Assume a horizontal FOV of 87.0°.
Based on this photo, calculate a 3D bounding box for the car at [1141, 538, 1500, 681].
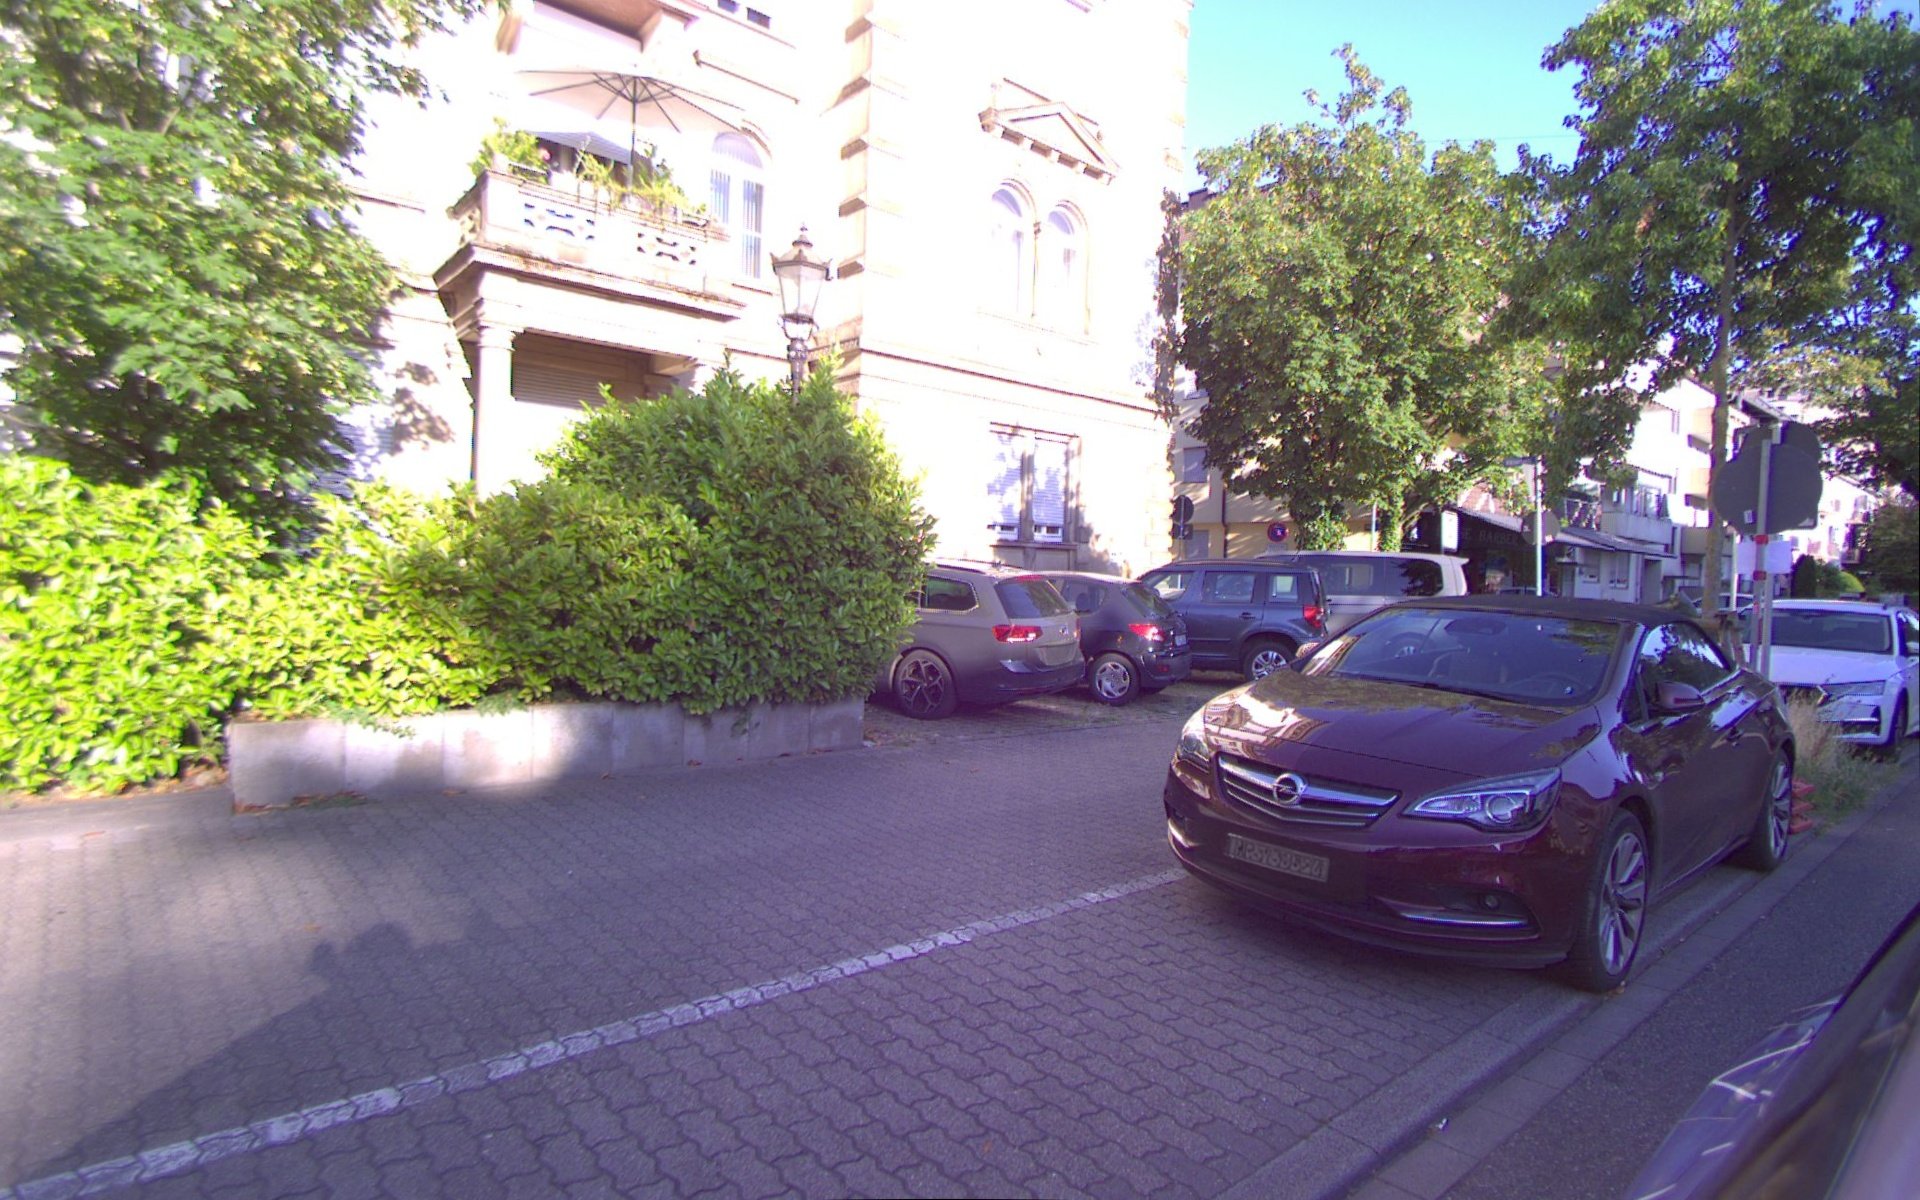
[{"bbox_3d":[5.428,0.056,15.638,4.881,1.923,1.907,2,1,22],"label":"car"}]

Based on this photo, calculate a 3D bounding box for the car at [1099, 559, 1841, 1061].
[{"bbox_3d":[2.904,0.606,5.185,4.534,1.437,1.761,0,4,-41],"label":"car"}]

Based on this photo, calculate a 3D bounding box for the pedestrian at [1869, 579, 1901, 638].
[{"bbox_3d":[28.770,0.274,31.466,0.552,1.794,0.619,2,0,-40],"label":"pedestrian"}]

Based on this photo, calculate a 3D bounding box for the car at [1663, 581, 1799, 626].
[{"bbox_3d":[28.910,0.104,38.008,1.550,1.523,3.869,0,2,-45],"label":"car"}]

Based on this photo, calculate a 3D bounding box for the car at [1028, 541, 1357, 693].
[{"bbox_3d":[3.125,0.138,13.677,4.050,1.720,1.776,3,2,21],"label":"car"}]

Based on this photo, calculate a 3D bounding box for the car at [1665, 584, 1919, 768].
[{"bbox_3d":[9.200,0.622,10.636,4.540,1.496,1.825,0,2,-40],"label":"car"}]

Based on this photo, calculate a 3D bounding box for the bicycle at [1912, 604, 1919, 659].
[{"bbox_3d":[21.226,0.738,21.117,0.602,1.176,1.905,1,3,-13],"label":"bicycle"}]

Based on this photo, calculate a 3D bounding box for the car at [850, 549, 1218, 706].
[{"bbox_3d":[0.857,0.229,12.224,4.061,1.458,1.701,4,2,27],"label":"car"}]

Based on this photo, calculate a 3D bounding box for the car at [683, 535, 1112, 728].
[{"bbox_3d":[-0.736,0.196,10.611,4.220,1.529,1.772,4,3,32],"label":"car"}]

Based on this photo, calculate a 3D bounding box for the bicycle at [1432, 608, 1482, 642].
[{"bbox_3d":[11.991,0.595,24.410,1.504,0.777,0.486,0,2,-40],"label":"bicycle"}]

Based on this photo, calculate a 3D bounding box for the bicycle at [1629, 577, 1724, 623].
[{"bbox_3d":[24.208,-0.017,34.241,0.912,1.459,2.457,0,2,-42],"label":"bicycle"}]

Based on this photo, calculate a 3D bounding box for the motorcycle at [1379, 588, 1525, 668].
[{"bbox_3d":[8.541,0.455,17.630,2.153,1.255,0.778,2,2,40],"label":"motorcycle"}]
